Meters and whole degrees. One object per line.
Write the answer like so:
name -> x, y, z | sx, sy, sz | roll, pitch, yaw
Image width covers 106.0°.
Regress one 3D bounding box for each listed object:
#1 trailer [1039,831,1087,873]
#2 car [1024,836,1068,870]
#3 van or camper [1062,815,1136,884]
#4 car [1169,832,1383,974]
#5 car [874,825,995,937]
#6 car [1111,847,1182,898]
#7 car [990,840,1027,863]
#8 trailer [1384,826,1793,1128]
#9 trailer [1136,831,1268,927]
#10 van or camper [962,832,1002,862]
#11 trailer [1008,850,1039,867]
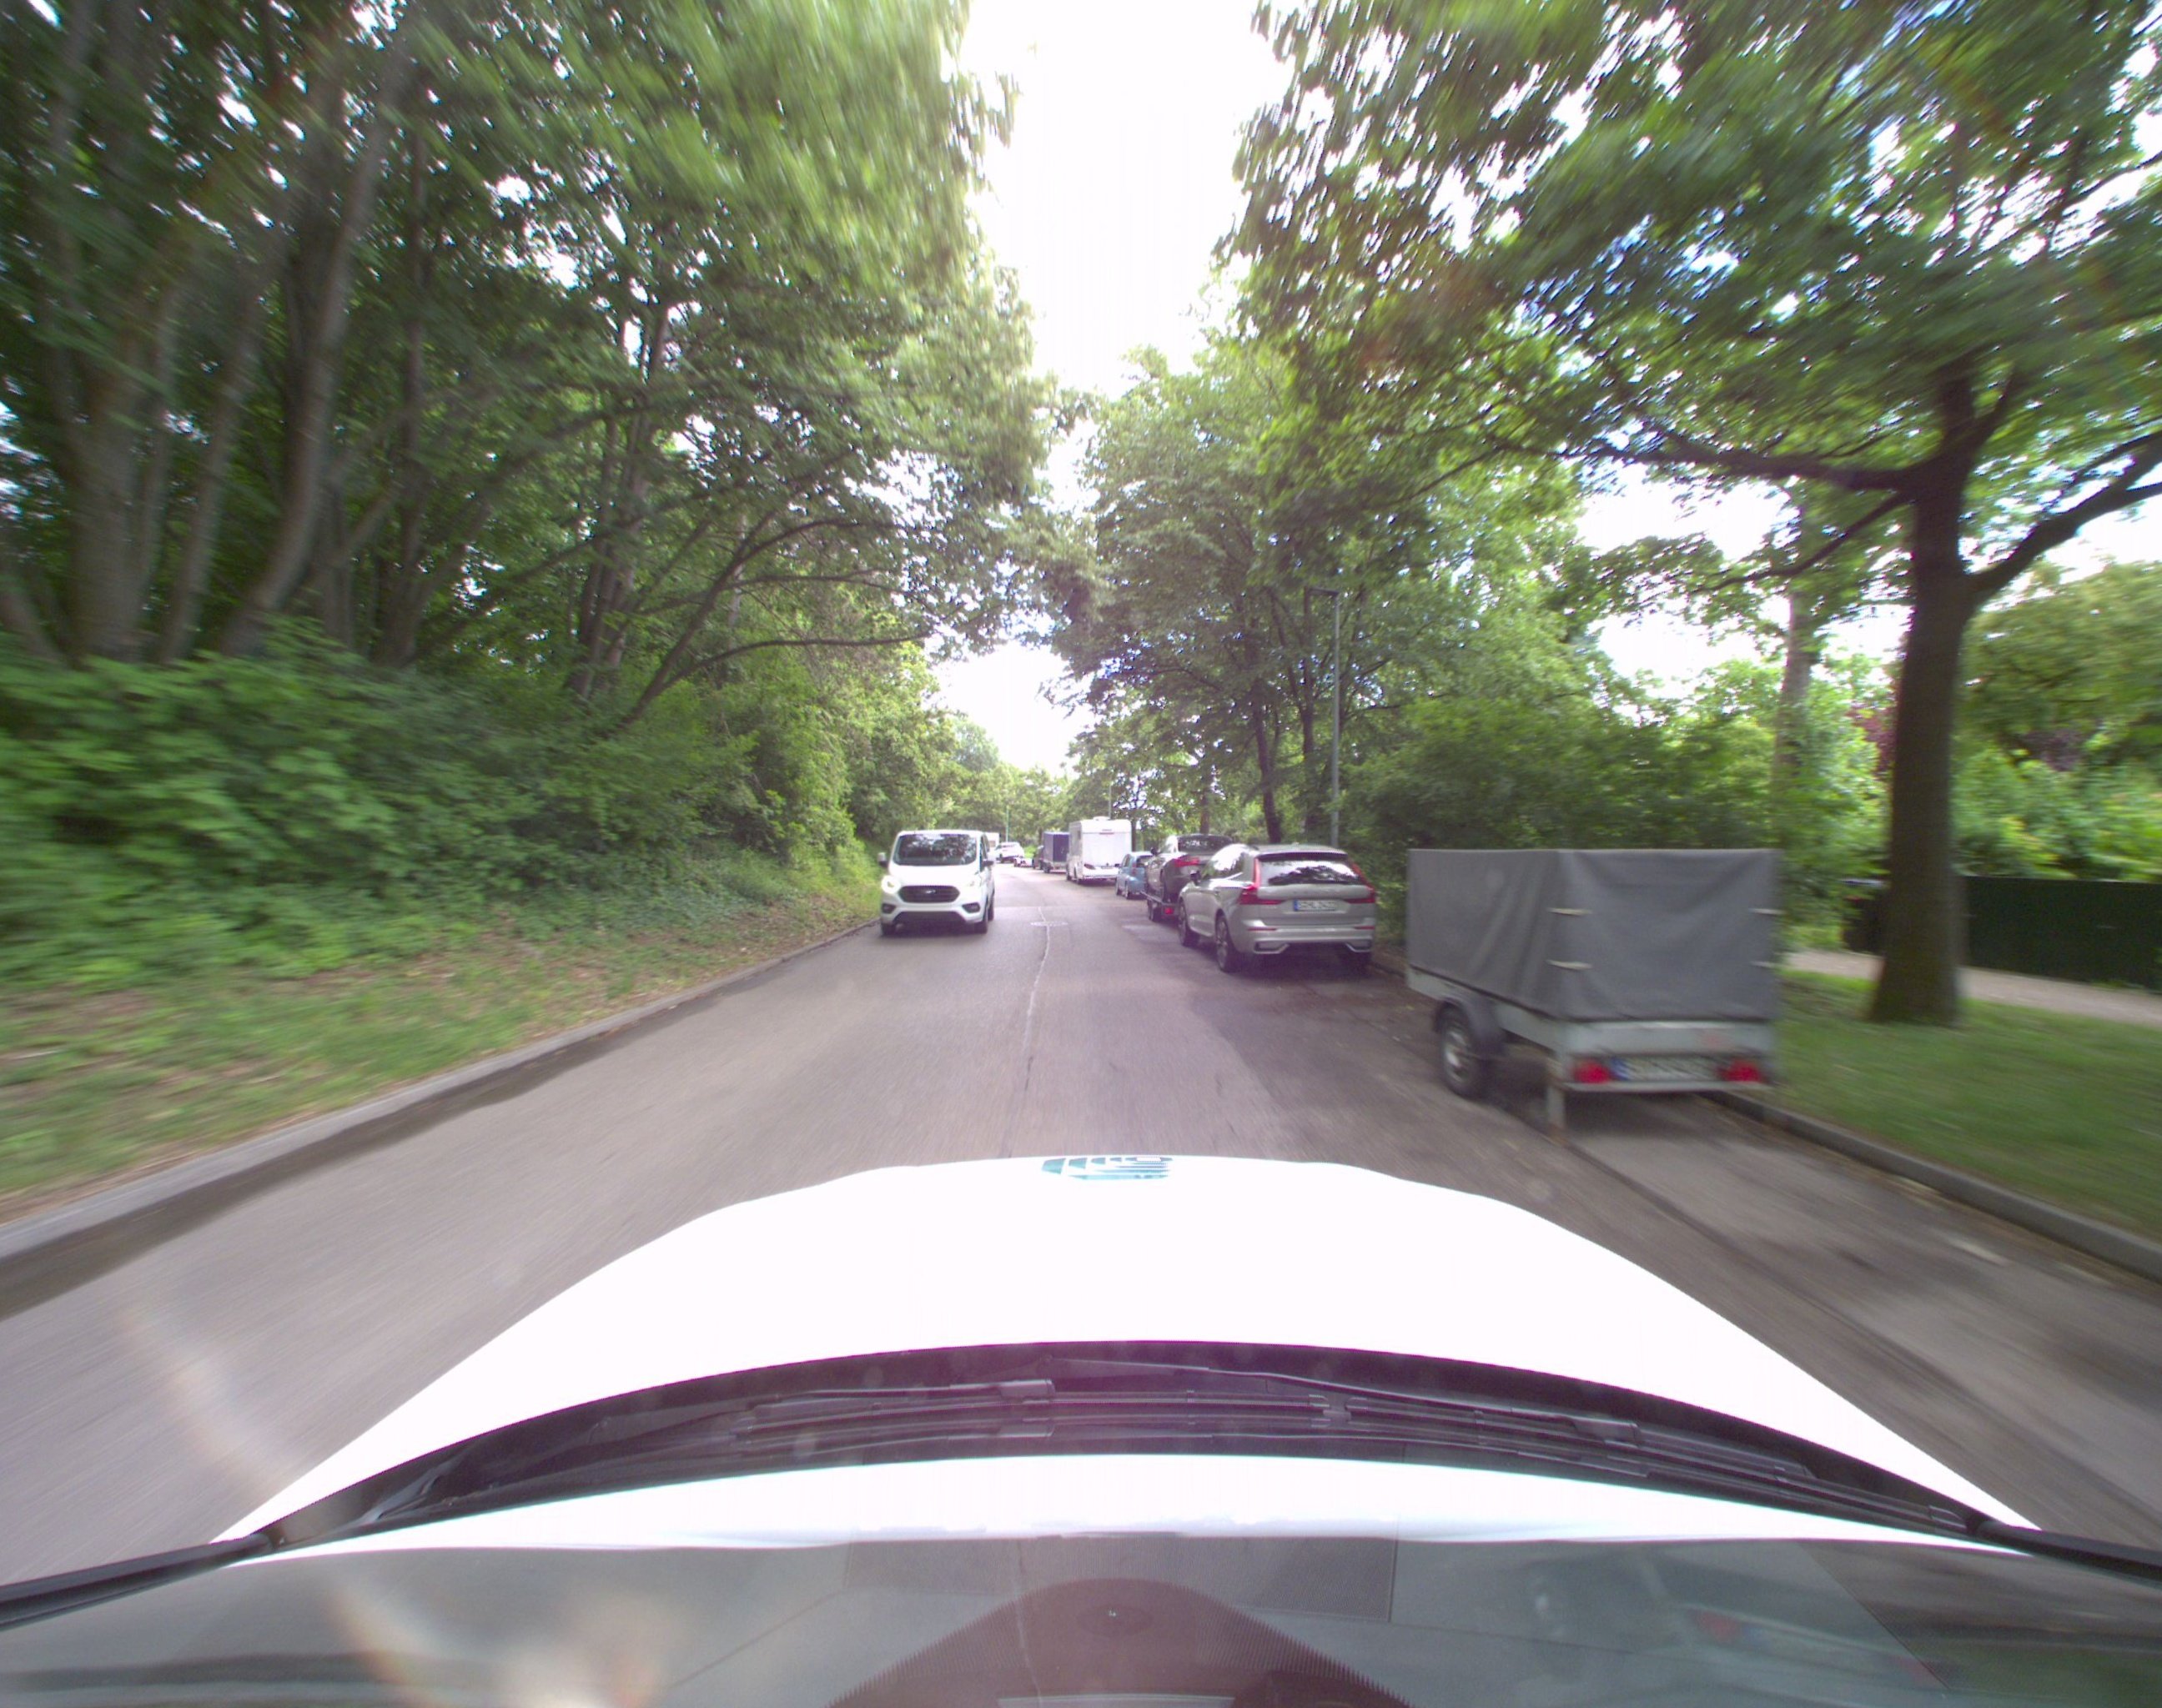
trailer -> -1.115, -0.151, 48.736 | 1.997, 2.398, 3.980 | 0, 0, -15
car -> -2.382, -0.121, 53.852 | 1.997, 2.025, 3.980 | -3, 2, -15
van or camper -> 0.702, -0.188, 37.867 | 2.480, 2.876, 6.873 | 0, 0, -7
car -> 2.569, 0.623, 11.921 | 1.788, 1.670, 4.495 | 0, -1, -4
car -> -2.834, 0.461, 16.699 | 1.943, 1.984, 4.496 | 0, 0, -4
car -> 2.123, 0.562, 27.446 | 1.797, 1.562, 3.829 | 0, 1, -5
car -> -5.986, -0.248, 66.715 | 2.042, 1.803, 4.055 | -1, 1, -20
trailer -> 3.141, 0.650, 5.534 | 1.274, 1.585, 2.460 | 0, 0, 1
trailer -> 2.482, 0.442, 18.083 | 1.974, 1.811, 5.144 | 0, 1, -2
van or camper -> -9.123, -0.672, 74.810 | 2.537, 2.697, 4.541 | -1, 1, -22
trailer -> -4.096, 0.275, 57.635 | 1.653, 1.086, 3.983 | -2, 1, -12
